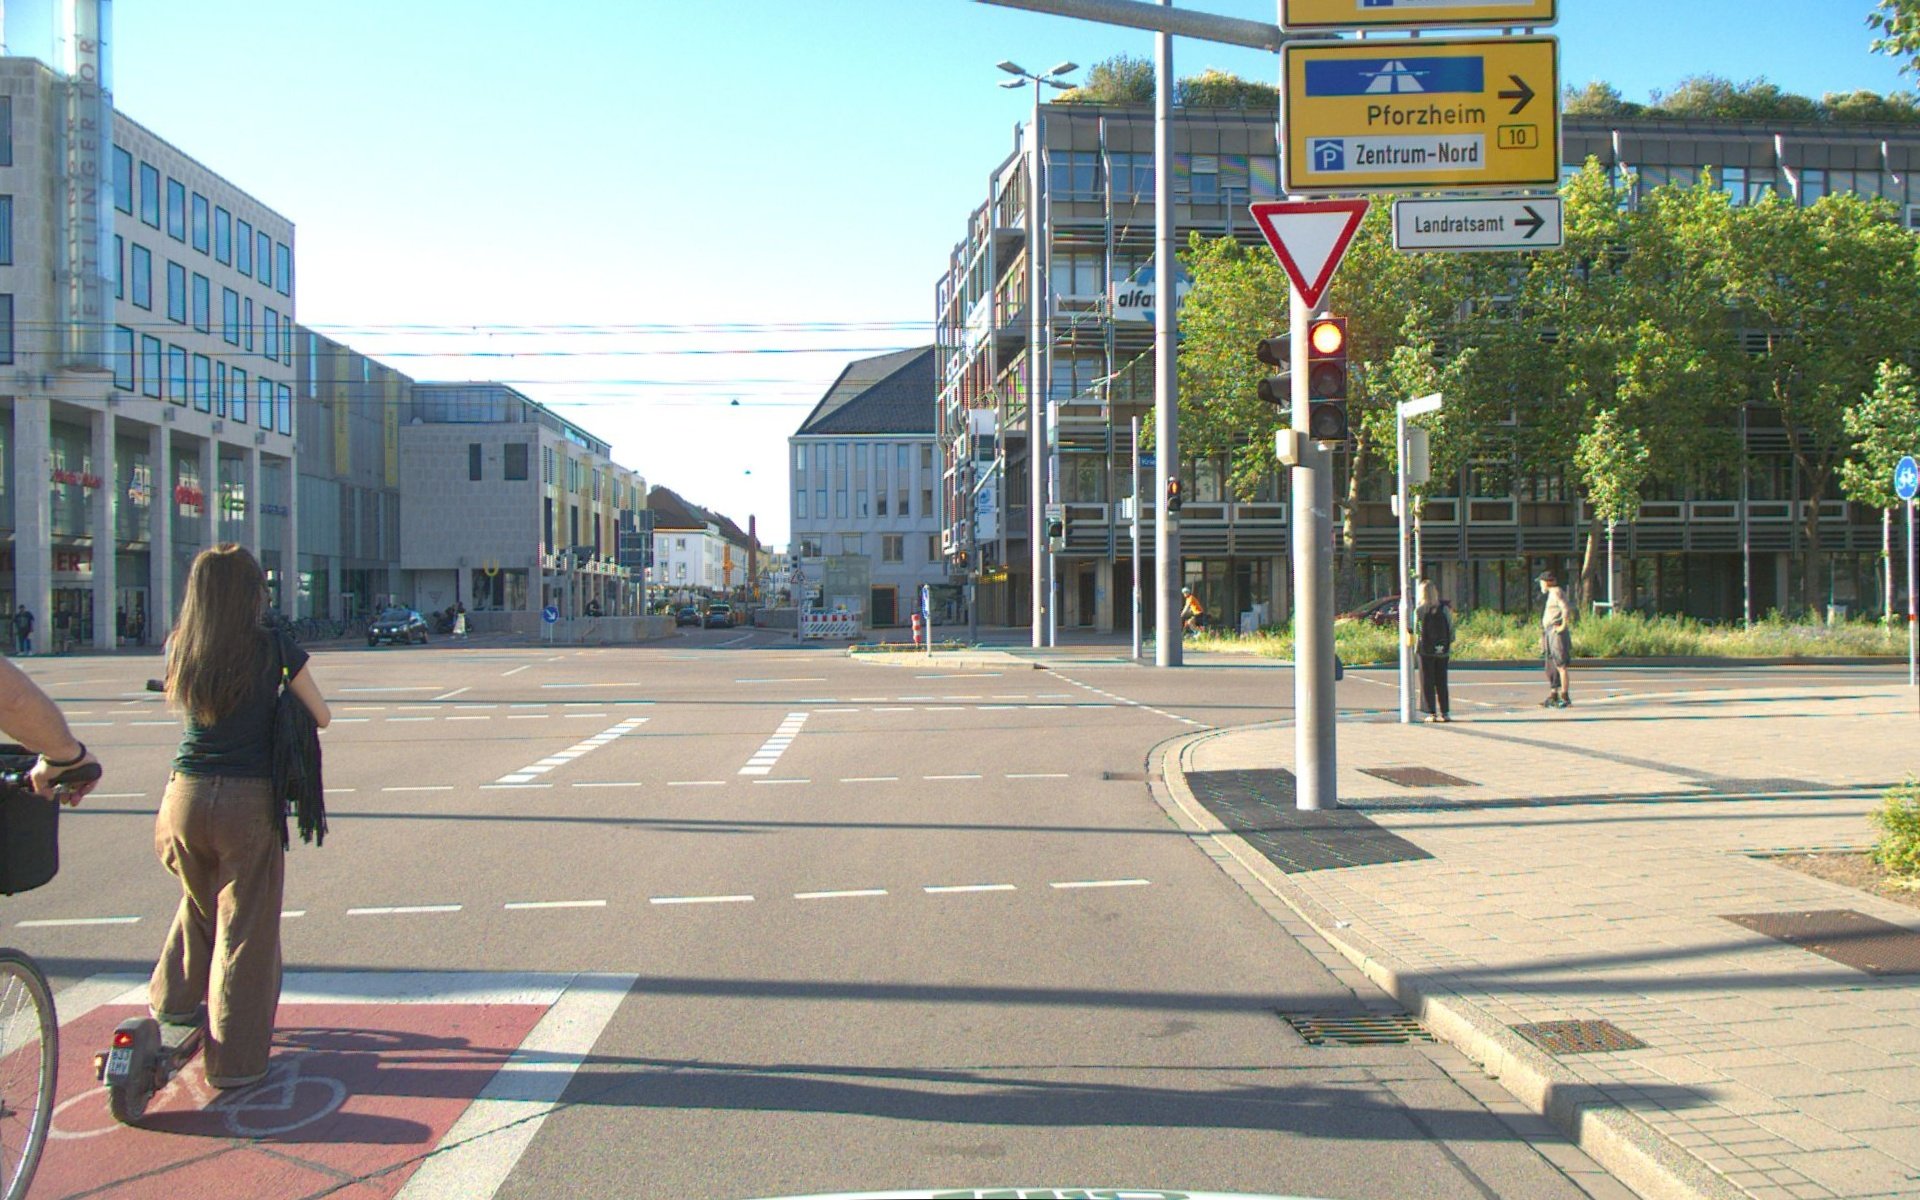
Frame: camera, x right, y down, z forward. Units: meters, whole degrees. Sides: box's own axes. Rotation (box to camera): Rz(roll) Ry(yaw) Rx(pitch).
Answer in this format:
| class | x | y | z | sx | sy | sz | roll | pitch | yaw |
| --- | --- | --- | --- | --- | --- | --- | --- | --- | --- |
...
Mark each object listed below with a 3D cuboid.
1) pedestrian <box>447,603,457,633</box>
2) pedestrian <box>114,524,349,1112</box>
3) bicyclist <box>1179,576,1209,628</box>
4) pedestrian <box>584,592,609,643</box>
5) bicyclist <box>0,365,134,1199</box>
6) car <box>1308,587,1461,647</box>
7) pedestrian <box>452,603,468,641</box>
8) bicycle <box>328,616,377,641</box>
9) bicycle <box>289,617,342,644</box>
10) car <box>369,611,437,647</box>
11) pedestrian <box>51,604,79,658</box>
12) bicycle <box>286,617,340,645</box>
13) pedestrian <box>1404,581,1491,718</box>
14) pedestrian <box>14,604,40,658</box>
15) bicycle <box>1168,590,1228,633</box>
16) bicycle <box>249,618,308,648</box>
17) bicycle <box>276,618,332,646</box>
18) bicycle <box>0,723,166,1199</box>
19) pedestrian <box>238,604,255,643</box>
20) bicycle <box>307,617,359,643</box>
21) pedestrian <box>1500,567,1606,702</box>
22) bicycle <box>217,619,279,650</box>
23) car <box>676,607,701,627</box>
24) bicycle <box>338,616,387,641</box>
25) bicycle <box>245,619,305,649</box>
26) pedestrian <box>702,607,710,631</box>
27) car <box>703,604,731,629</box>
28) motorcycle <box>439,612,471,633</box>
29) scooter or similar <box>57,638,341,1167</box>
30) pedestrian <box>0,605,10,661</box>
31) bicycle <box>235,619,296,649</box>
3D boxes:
| class | x | y | z | sx | sy | sz | roll | pitch | yaw |
| --- | --- | --- | --- | --- | --- | --- | --- | --- | --- |
| pedestrian | -30.097 | 1.068 | 98.076 | 0.512 | 1.709 | 0.581 | 1 | 0 | -14 |
| pedestrian | -2.188 | 0.619 | 5.025 | 0.540 | 1.661 | 0.569 | 1 | -1 | -16 |
| bicyclist | 6.686 | 0.062 | 47.252 | 0.698 | 1.462 | 0.496 | 1 | -1 | -10 |
| pedestrian | -13.677 | 0.661 | 62.236 | 0.628 | 1.923 | 0.791 | 1 | -1 | 14 |
| bicyclist | -1.978 | 0.467 | 2.849 | 0.647 | 1.750 | 0.865 | 1 | -1 | -1 |
| car | 11.860 | 0.459 | 46.321 | 3.812 | 1.613 | 1.656 | -1 | 0 | -8 |
| pedestrian | -23.357 | 1.018 | 77.204 | 0.639 | 1.749 | 0.447 | 0 | 0 | -25 |
| bicycle | -30.926 | 1.463 | 84.265 | 2.260 | 1.244 | 0.611 | 0 | 0 | -3 |
| bicycle | -30.713 | 1.444 | 78.816 | 2.260 | 1.244 | 0.611 | 0 | 0 | -3 |
| car | -23.377 | 1.204 | 69.482 | 1.597 | 1.365 | 3.998 | -3 | 0 | -3 |
| pedestrian | -31.171 | 1.069 | 57.601 | 0.788 | 1.876 | 0.854 | 0 | 0 | -33 |
| bicycle | -30.064 | 1.447 | 76.846 | 2.260 | 1.244 | 0.611 | 0 | 0 | -3 |
| pedestrian | 5.516 | 0.551 | 18.746 | 0.772 | 1.518 | 0.644 | 1 | -1 | -1 |
| pedestrian | -32.862 | 1.077 | 58.260 | 0.787 | 1.876 | 0.856 | 0 | 0 | -29 |
| bicycle | 6.810 | 0.327 | 47.273 | 1.615 | 1.175 | 0.496 | 1 | -1 | -10 |
| bicycle | -29.503 | 1.434 | 71.630 | 2.260 | 1.244 | 0.611 | 0 | 0 | -3 |
| bicycle | -29.603 | 1.446 | 74.695 | 2.260 | 1.244 | 0.611 | 0 | 0 | -3 |
| bicycle | -2.081 | 0.872 | 2.924 | 0.475 | 1.176 | 1.831 | 1 | 0 | -1 |
| pedestrian | -32.141 | 1.064 | 74.475 | 0.544 | 1.709 | 0.606 | 1 | 0 | -11 |
| bicycle | -30.333 | 1.456 | 80.048 | 2.260 | 1.244 | 0.611 | 0 | 0 | -3 |
| pedestrian | 7.626 | 0.436 | 21.297 | 0.866 | 1.694 | 0.958 | 1 | -1 | -22 |
| bicycle | -29.333 | 1.423 | 68.114 | 2.260 | 1.244 | 0.611 | 0 | 0 | -3 |
| car | -21.532 | 1.352 | 131.141 | 1.751 | 1.477 | 3.993 | 1 | 0 | -7 |
| bicycle | -30.814 | 1.469 | 85.335 | 2.260 | 1.244 | 0.611 | 0 | 0 | -3 |
| bicycle | -29.290 | 1.434 | 70.754 | 2.260 | 1.244 | 0.611 | 0 | 0 | -3 |
| pedestrian | -17.882 | 1.354 | 116.607 | 0.511 | 1.709 | 0.582 | 1 | 0 | -8 |
| car | -15.824 | 1.050 | 107.943 | 1.705 | 1.558 | 3.849 | 1 | 0 | -8 |
| motorcycle | -29.759 | 1.322 | 97.473 | 1.775 | 1.228 | 0.509 | 1 | 0 | -16 |
| scooter or similar | -2.178 | 0.788 | 4.857 | 0.538 | 1.316 | 1.189 | 1 | 0 | -15 |
| pedestrian | -33.110 | 1.124 | 56.891 | 0.706 | 1.918 | 0.780 | 1 | -1 | -28 |
| bicycle | -29.125 | 1.432 | 69.400 | 2.260 | 1.244 | 0.611 | 0 | 0 | -3 |
